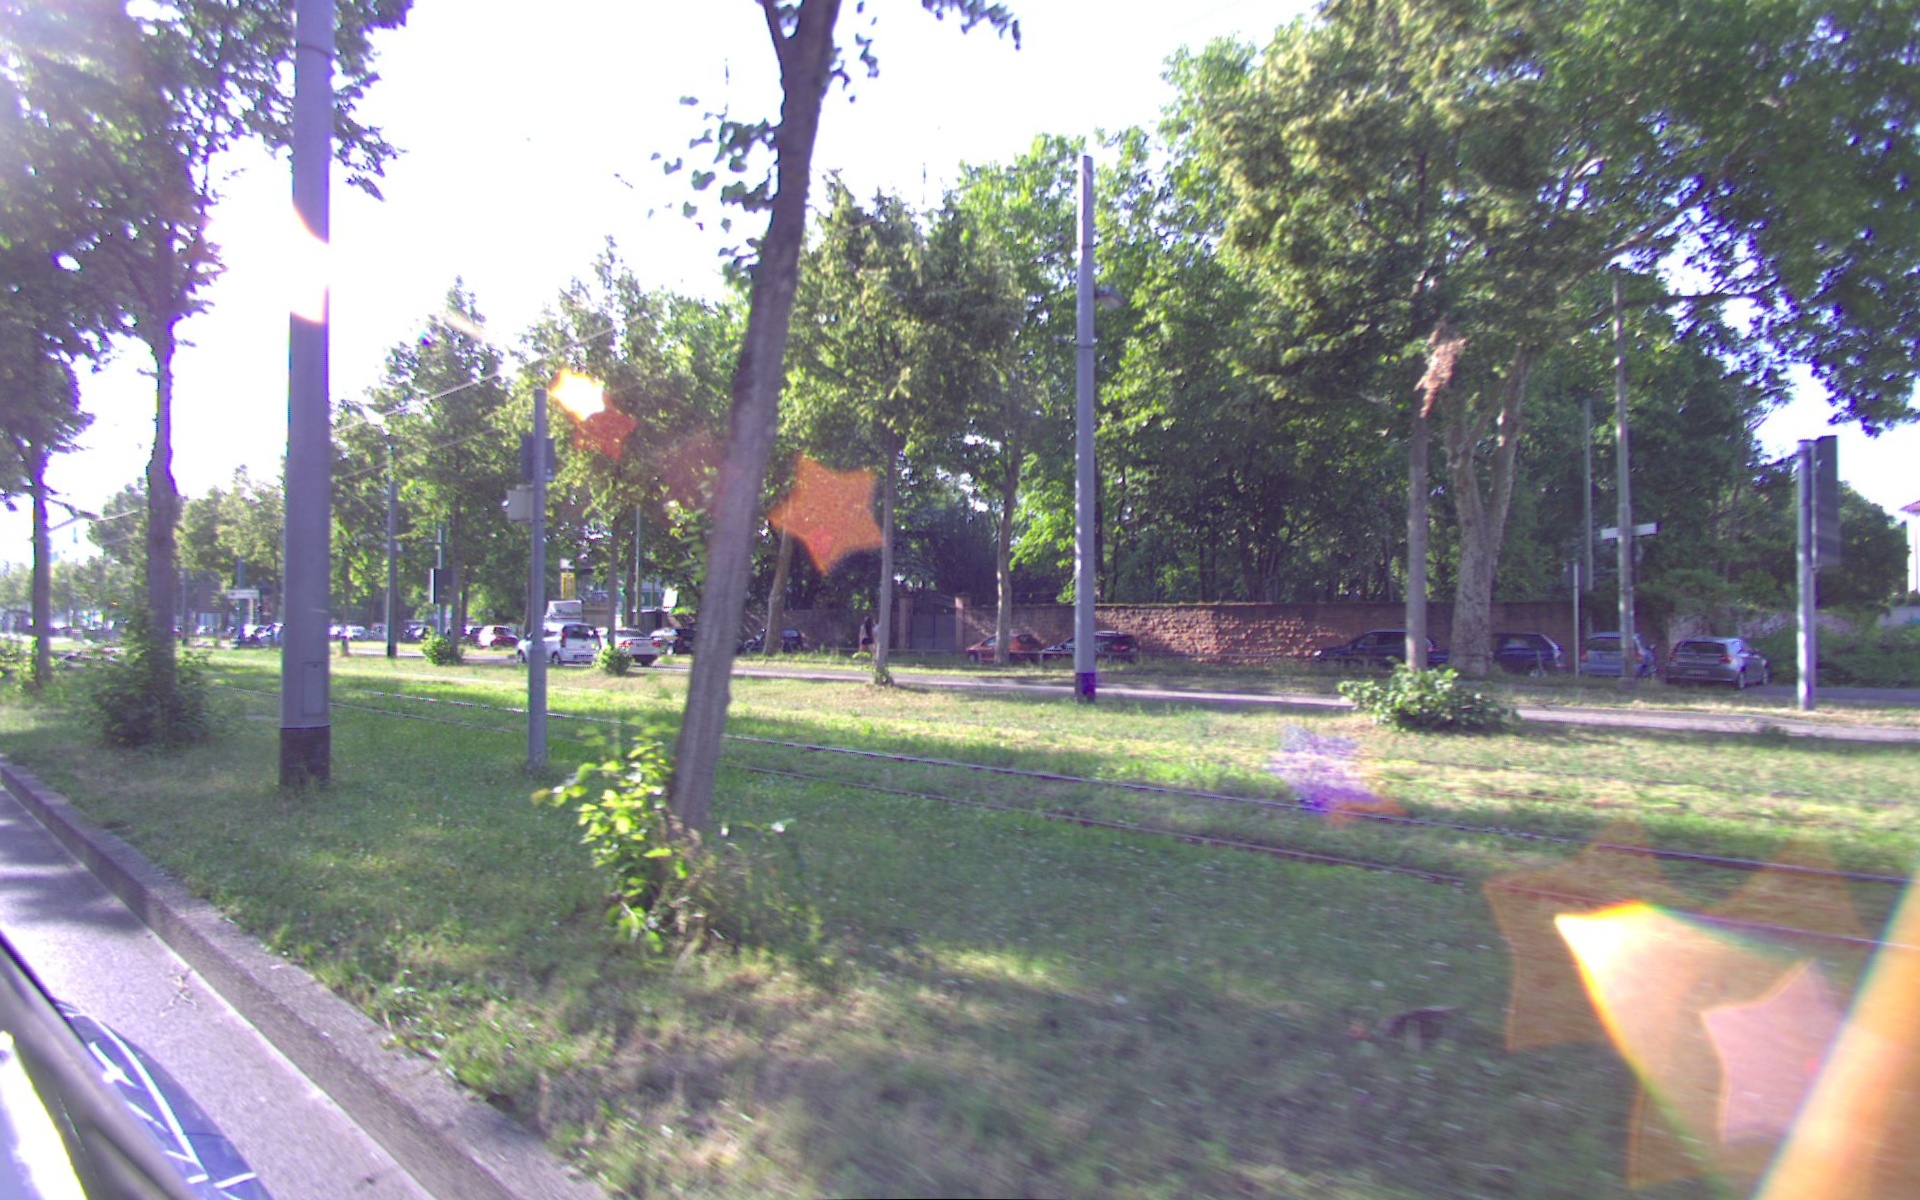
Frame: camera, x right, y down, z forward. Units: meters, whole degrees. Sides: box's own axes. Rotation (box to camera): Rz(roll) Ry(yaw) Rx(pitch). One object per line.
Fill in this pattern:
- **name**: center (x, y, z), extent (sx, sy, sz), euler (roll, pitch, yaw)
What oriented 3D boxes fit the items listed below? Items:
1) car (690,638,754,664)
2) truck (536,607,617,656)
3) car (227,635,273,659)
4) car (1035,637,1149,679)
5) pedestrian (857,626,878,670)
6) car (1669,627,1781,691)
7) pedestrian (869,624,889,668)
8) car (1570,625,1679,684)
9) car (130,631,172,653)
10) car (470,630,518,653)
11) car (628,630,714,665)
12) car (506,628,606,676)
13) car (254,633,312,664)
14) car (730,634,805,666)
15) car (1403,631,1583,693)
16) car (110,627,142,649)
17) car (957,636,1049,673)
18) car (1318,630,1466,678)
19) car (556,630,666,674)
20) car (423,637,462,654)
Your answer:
- **car**: center (-14.253, 3.011, 60.427), extent (1.678, 1.386, 4.388), euler (-1, 0, -45)
- **truck**: center (-29.622, 2.385, 77.993), extent (2.855, 3.542, 7.950), euler (-1, 0, -44)
- **car**: center (-47.898, 3.170, 68.278), extent (4.034, 1.446, 1.664), euler (-1, 0, 42)
- **car**: center (5.306, 2.307, 40.937), extent (4.362, 1.453, 1.766), euler (-1, 0, 44)
- **pedestrian**: center (-3.155, 1.618, 34.368), extent (0.601, 1.487, 0.382), euler (-1, 0, 41)
- **car**: center (21.384, 1.587, 28.259), extent (3.810, 1.497, 1.746), euler (-1, 0, -41)
- **pedestrian**: center (-2.779, 1.583, 34.707), extent (0.601, 1.487, 0.382), euler (-1, 0, 41)
- **car**: center (19.824, 1.576, 30.140), extent (3.810, 1.497, 1.746), euler (-1, 0, -41)
- **car**: center (-59.445, 3.060, 74.312), extent (4.669, 1.446, 1.664), euler (-1, 0, 42)
- **car**: center (-29.090, 2.568, 63.136), extent (1.564, 1.286, 3.964), euler (-1, 0, -42)
- **car**: center (-13.617, 2.202, 47.556), extent (4.474, 1.442, 1.811), euler (-1, 0, 43)
- **car**: center (-13.291, 1.664, 33.238), extent (3.695, 1.403, 1.566), euler (-1, 0, 42)
- **car**: center (-36.450, 2.575, 54.420), extent (4.131, 1.544, 1.593), euler (-1, 0, 42)
- **car**: center (-10.918, 2.775, 57.256), extent (4.474, 1.624, 1.811), euler (-1, 0, 43)
- **car**: center (13.924, 1.571, 26.531), extent (4.024, 1.446, 1.668), euler (-1, 0, 34)
- **car**: center (-77.617, 3.515, 94.179), extent (4.216, 1.878, 1.664), euler (-1, 0, 41)
- **car**: center (1.887, 2.369, 44.810), extent (3.912, 1.453, 1.699), euler (-1, 0, 44)
- **car**: center (14.472, 1.769, 33.995), extent (4.347, 1.453, 1.773), euler (-1, 0, 32)
- **car**: center (-12.917, 1.903, 37.303), extent (4.811, 1.487, 1.664), euler (-1, -4, 42)
- **car**: center (-36.339, 3.173, 71.048), extent (3.773, 1.116, 1.284), euler (-1, 0, 44)
